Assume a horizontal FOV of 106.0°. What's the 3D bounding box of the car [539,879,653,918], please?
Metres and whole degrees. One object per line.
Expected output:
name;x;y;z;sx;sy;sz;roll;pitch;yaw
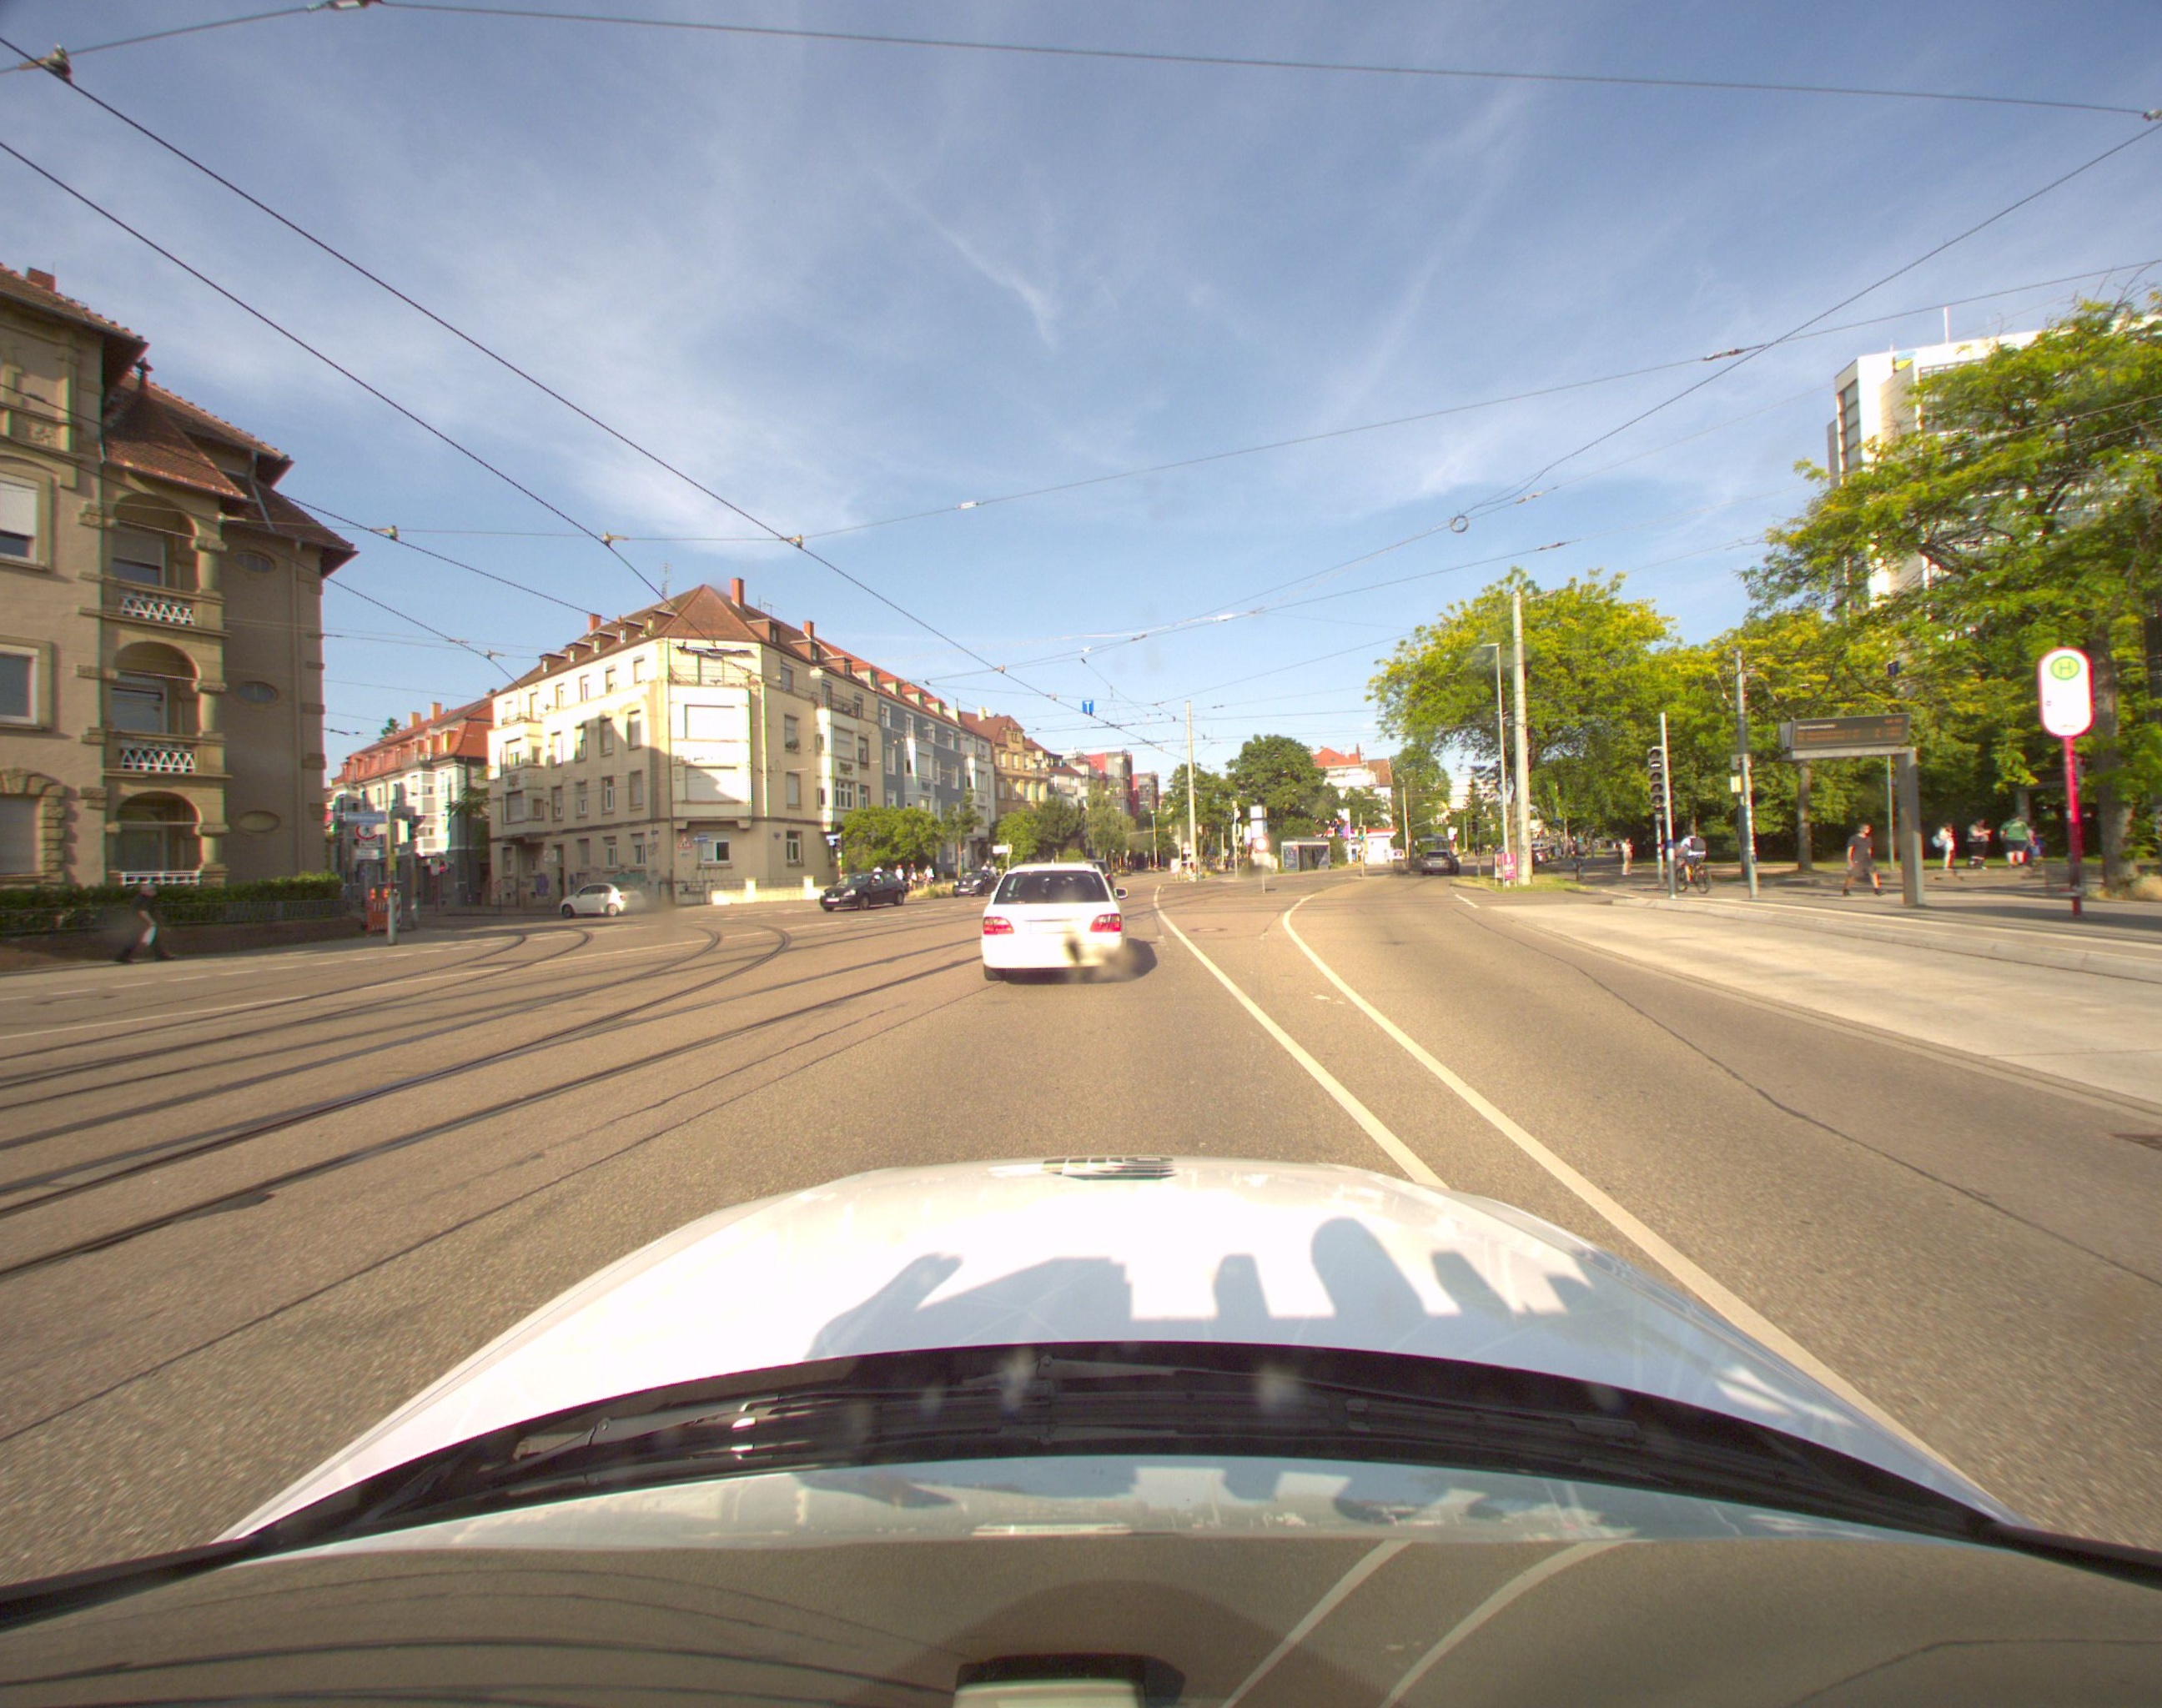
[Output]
car;-21.068;1.925;35.432;3.963;1.457;1.805;-2;-1;9

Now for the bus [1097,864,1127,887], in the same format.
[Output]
bus;2.355;1.585;61.160;1.834;1.636;4.168;-2;-1;7

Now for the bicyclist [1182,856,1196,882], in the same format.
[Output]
bicyclist;7.411;1.010;55.848;0.894;1.699;0.734;-3;-1;7

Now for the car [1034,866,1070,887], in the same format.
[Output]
car;-2.011;1.586;57.548;1.678;1.420;4.011;-2;-1;10

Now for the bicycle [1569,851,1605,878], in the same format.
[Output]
bicycle;21.273;0.441;34.283;0.636;1.088;1.739;-4;-1;11

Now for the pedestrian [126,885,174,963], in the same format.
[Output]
pedestrian;-20.501;1.532;17.934;0.672;1.651;0.608;-2;-2;34

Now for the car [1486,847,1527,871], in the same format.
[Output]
car;29.790;0.319;56.982;1.835;1.515;4.026;-4;-2;37

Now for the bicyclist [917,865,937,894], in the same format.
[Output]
bicyclist;-8.987;1.481;47.609;0.756;1.668;1.170;-2;-1;8

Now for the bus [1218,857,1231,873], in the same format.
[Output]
bus;22.153;1.683;125.918;1.787;2.333;4.009;0;-1;8

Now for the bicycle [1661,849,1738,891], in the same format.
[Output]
bicycle;17.459;0.450;23.053;0.638;1.088;1.940;-4;-1;1

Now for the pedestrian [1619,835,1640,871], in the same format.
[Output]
pedestrian;25.788;-0.037;38.311;0.635;1.665;0.694;-2;-1;23

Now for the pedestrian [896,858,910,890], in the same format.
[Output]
pedestrian;-10.416;1.158;47.659;0.580;1.881;0.628;-2;-1;11

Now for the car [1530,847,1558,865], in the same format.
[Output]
car;44.781;0.179;78.669;1.835;1.515;4.026;-4;-2;36

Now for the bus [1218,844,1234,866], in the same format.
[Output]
bus;16.878;0.169;95.050;1.787;2.413;4.009;0;-1;9

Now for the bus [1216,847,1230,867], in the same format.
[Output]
bus;19.242;0.453;110.630;1.787;2.555;4.010;0;-1;9

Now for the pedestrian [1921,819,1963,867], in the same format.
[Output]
pedestrian;29.148;-0.366;27.578;0.637;1.610;0.692;-2;-1;7

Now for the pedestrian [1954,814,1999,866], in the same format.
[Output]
pedestrian;29.316;-0.451;26.667;0.637;1.665;0.692;-2;-1;7

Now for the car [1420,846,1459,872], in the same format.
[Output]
car;23.368;0.333;52.974;1.817;1.600;3.839;-1;-1;31

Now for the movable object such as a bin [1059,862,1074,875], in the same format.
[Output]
movable object such as a bin;-1.587;1.594;88.986;1.597;1.421;1.084;-2;-1;0

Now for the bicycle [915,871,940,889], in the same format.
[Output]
bicycle;-8.986;1.530;47.685;0.764;0.965;2.039;-2;-1;9

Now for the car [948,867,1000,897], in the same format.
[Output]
car;-5.698;1.463;43.633;1.623;1.433;3.639;-2;-1;11

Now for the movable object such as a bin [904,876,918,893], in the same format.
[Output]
movable object such as a bin;-10.124;1.812;48.506;0.578;0.947;0.666;-2;-1;17

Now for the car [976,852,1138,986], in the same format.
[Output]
car;-0.317;0.760;11.115;1.830;1.501;3.812;0;-1;-2

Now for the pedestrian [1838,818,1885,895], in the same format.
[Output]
pedestrian;18.327;0.060;19.137;0.573;1.777;0.590;0;-1;15

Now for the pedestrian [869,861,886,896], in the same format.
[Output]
pedestrian;-11.320;1.364;45.402;0.654;1.881;0.628;-2;-1;11

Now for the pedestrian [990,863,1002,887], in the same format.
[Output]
pedestrian;-6.448;1.578;61.749;0.634;1.751;0.914;-2;-1;10

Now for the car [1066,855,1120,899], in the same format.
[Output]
car;0.520;0.849;31.224;1.632;1.600;3.823;0;-1;7

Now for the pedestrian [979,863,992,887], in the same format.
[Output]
pedestrian;-7.282;1.600;62.022;0.634;1.751;0.914;-2;-1;10

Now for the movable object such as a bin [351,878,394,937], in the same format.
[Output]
movable object such as a bin;-21.636;1.595;24.899;0.264;1.709;2.364;-1;-1;-23

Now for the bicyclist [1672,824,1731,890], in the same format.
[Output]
bicyclist;17.434;0.098;22.904;0.647;1.746;1.140;-5;-2;1

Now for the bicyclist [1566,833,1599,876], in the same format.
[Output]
bicyclist;21.294;0.024;34.598;0.715;1.746;1.143;-5;-2;11

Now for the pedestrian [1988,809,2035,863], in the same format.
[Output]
pedestrian;29.509;-0.556;25.844;0.637;1.665;0.692;-2;-1;7

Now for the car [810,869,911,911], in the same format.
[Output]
car;-8.470;1.354;31.668;1.752;1.433;4.020;-2;-1;19

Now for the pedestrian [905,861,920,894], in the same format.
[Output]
pedestrian;-9.807;1.359;47.433;0.580;1.881;0.629;-2;-1;12

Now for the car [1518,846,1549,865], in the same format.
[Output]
car;39.309;0.109;70.699;1.835;1.515;4.026;-4;-2;36

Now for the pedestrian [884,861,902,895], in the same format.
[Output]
pedestrian;-10.453;1.341;45.320;0.669;1.848;0.652;-2;-1;15

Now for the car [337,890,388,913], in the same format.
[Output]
car;-50.438;3.340;57.144;3.948;1.457;1.811;-3;-1;36

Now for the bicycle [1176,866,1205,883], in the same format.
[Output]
bicycle;7.534;1.412;55.822;1.903;0.994;0.728;-4;-1;7
